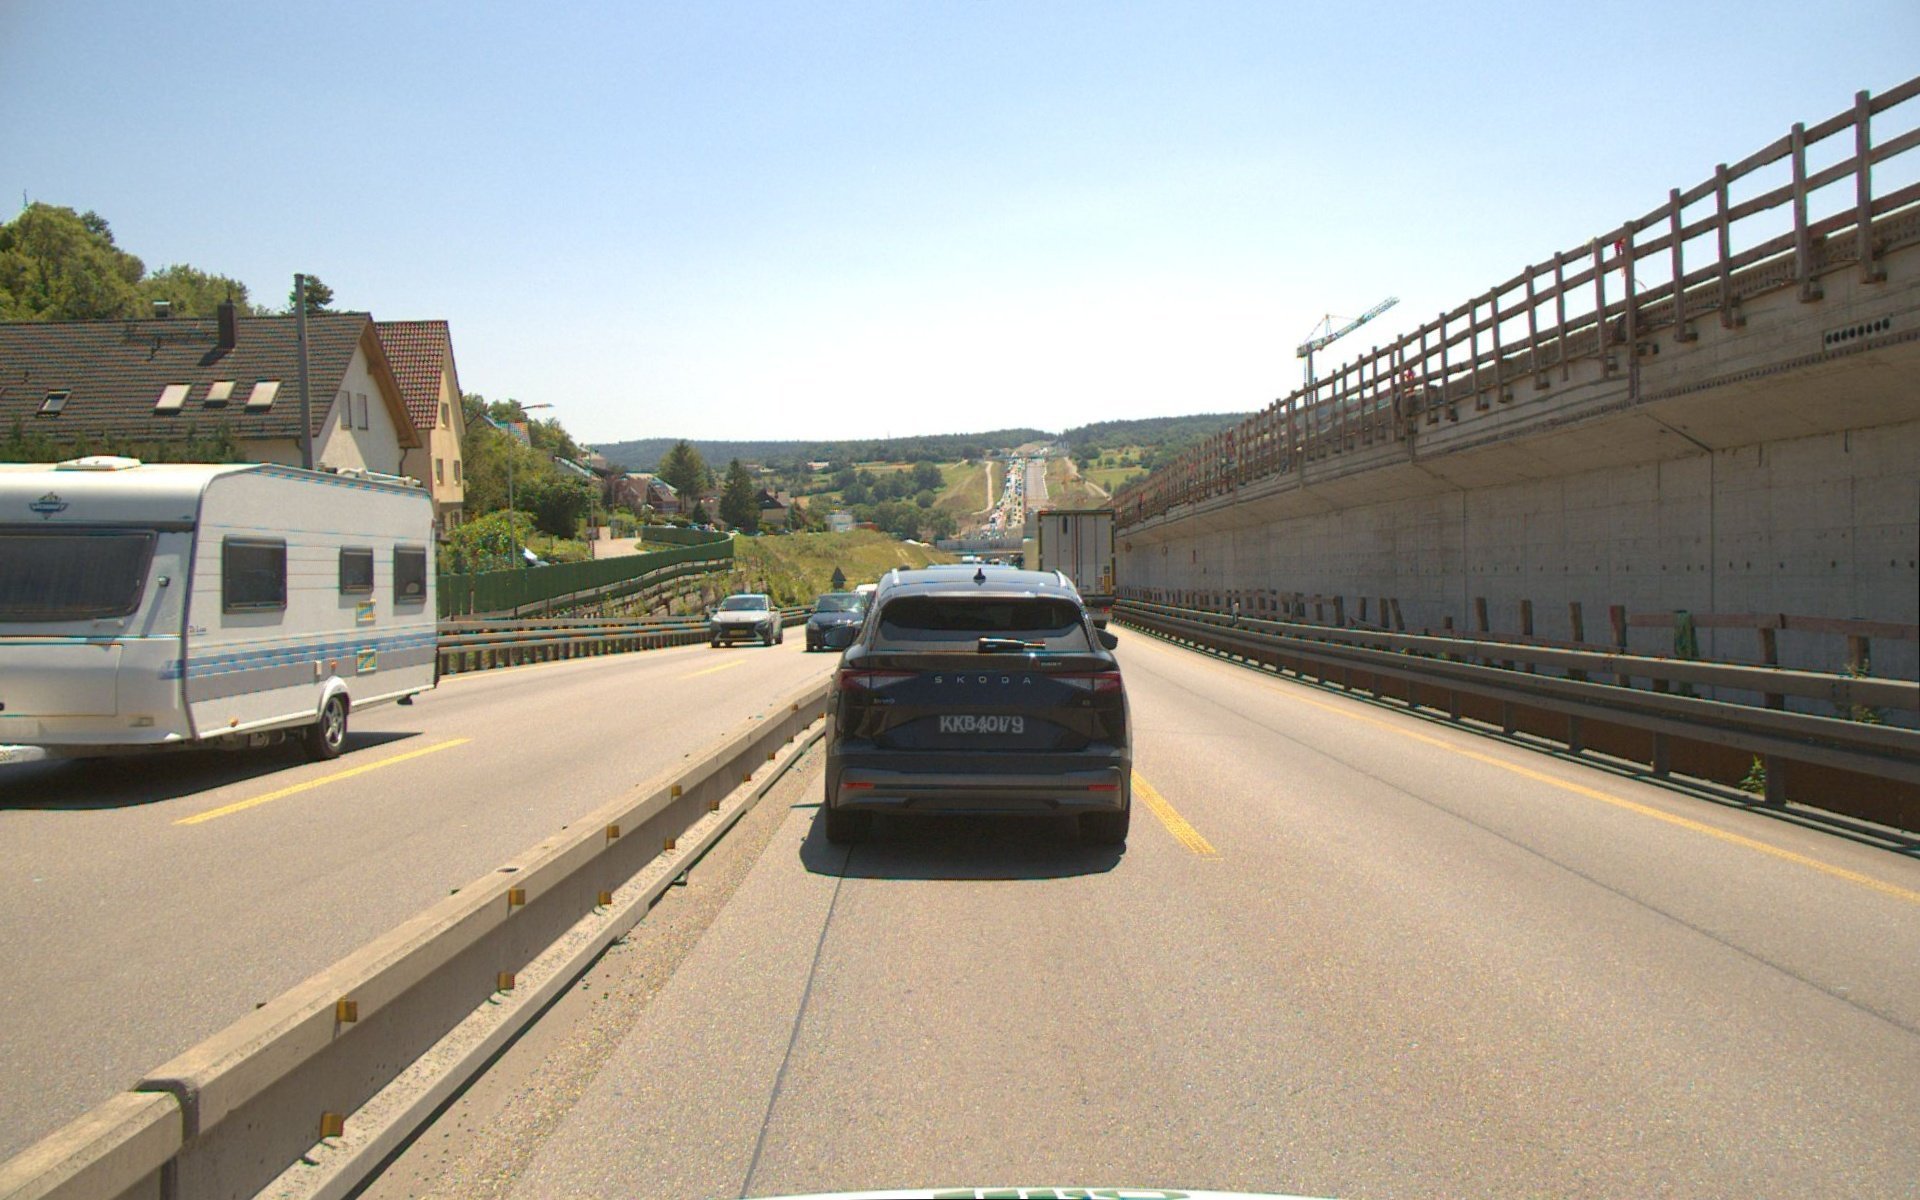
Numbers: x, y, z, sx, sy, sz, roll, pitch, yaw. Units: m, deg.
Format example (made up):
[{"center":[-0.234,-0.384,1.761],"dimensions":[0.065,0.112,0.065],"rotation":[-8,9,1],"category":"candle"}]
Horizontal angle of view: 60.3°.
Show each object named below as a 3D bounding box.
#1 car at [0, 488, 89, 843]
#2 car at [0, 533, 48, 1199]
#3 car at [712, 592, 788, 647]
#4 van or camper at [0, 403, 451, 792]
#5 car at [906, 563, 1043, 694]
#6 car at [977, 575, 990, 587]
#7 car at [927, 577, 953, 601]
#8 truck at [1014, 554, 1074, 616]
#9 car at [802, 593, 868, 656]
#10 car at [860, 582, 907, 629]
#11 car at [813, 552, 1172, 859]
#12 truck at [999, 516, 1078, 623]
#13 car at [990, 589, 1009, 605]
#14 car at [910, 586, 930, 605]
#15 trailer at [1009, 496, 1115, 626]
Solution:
[{"center":[-6.494,0.355,8.494],"dimensions":[1.953,2.049,3.999],"rotation":[1,-1,-1],"category":"car"},{"center":[-3.133,0.609,1.806],"dimensions":[1.834,1.614,4.478],"rotation":[1,-1,-1],"category":"car"},{"center":[-6.259,0.585,49.609],"dimensions":[1.805,1.570,4.176],"rotation":[1,-1,-1],"category":"car"},{"center":[-6.489,0.020,14.090],"dimensions":[2.306,2.560,6.327],"rotation":[1,-1,0],"category":"van or camper"},{"center":[0.147,0.400,26.392],"dimensions":[1.674,1.914,3.994],"rotation":[1,1,-7],"category":"car"},{"center":[3.341,-2.761,236.664],"dimensions":[1.807,1.613,3.835],"rotation":[1,-1,-1],"category":"car"},{"center":[-1.462,-0.799,120.964],"dimensions":[1.807,1.613,3.835],"rotation":[1,-1,-1],"category":"car"},{"center":[4.705,-0.734,95.232],"dimensions":[3.129,3.247,12.810],"rotation":[0,-1,1],"category":"truck"},{"center":[-3.262,0.638,43.527],"dimensions":[1.515,1.576,3.237],"rotation":[1,-1,-1],"category":"car"},{"center":[-2.650,0.203,57.719],"dimensions":[1.515,1.576,3.237],"rotation":[1,-1,-1],"category":"car"},{"center":[0.017,0.593,10.757],"dimensions":[1.807,1.614,3.901],"rotation":[1,-1,-7],"category":"car"},{"center":[3.117,-1.106,67.518],"dimensions":[2.463,4.096,8.232],"rotation":[1,-1,-3],"category":"truck"},{"center":[4.195,-0.357,176.729],"dimensions":[1.807,1.613,3.835],"rotation":[1,-1,-1],"category":"car"},{"center":[-3.576,-0.421,148.180],"dimensions":[1.807,1.613,3.835],"rotation":[1,-1,-1],"category":"car"},{"center":[3.495,-1.174,59.586],"dimensions":[2.481,4.199,11.540],"rotation":[1,-1,-3],"category":"trailer"}]
